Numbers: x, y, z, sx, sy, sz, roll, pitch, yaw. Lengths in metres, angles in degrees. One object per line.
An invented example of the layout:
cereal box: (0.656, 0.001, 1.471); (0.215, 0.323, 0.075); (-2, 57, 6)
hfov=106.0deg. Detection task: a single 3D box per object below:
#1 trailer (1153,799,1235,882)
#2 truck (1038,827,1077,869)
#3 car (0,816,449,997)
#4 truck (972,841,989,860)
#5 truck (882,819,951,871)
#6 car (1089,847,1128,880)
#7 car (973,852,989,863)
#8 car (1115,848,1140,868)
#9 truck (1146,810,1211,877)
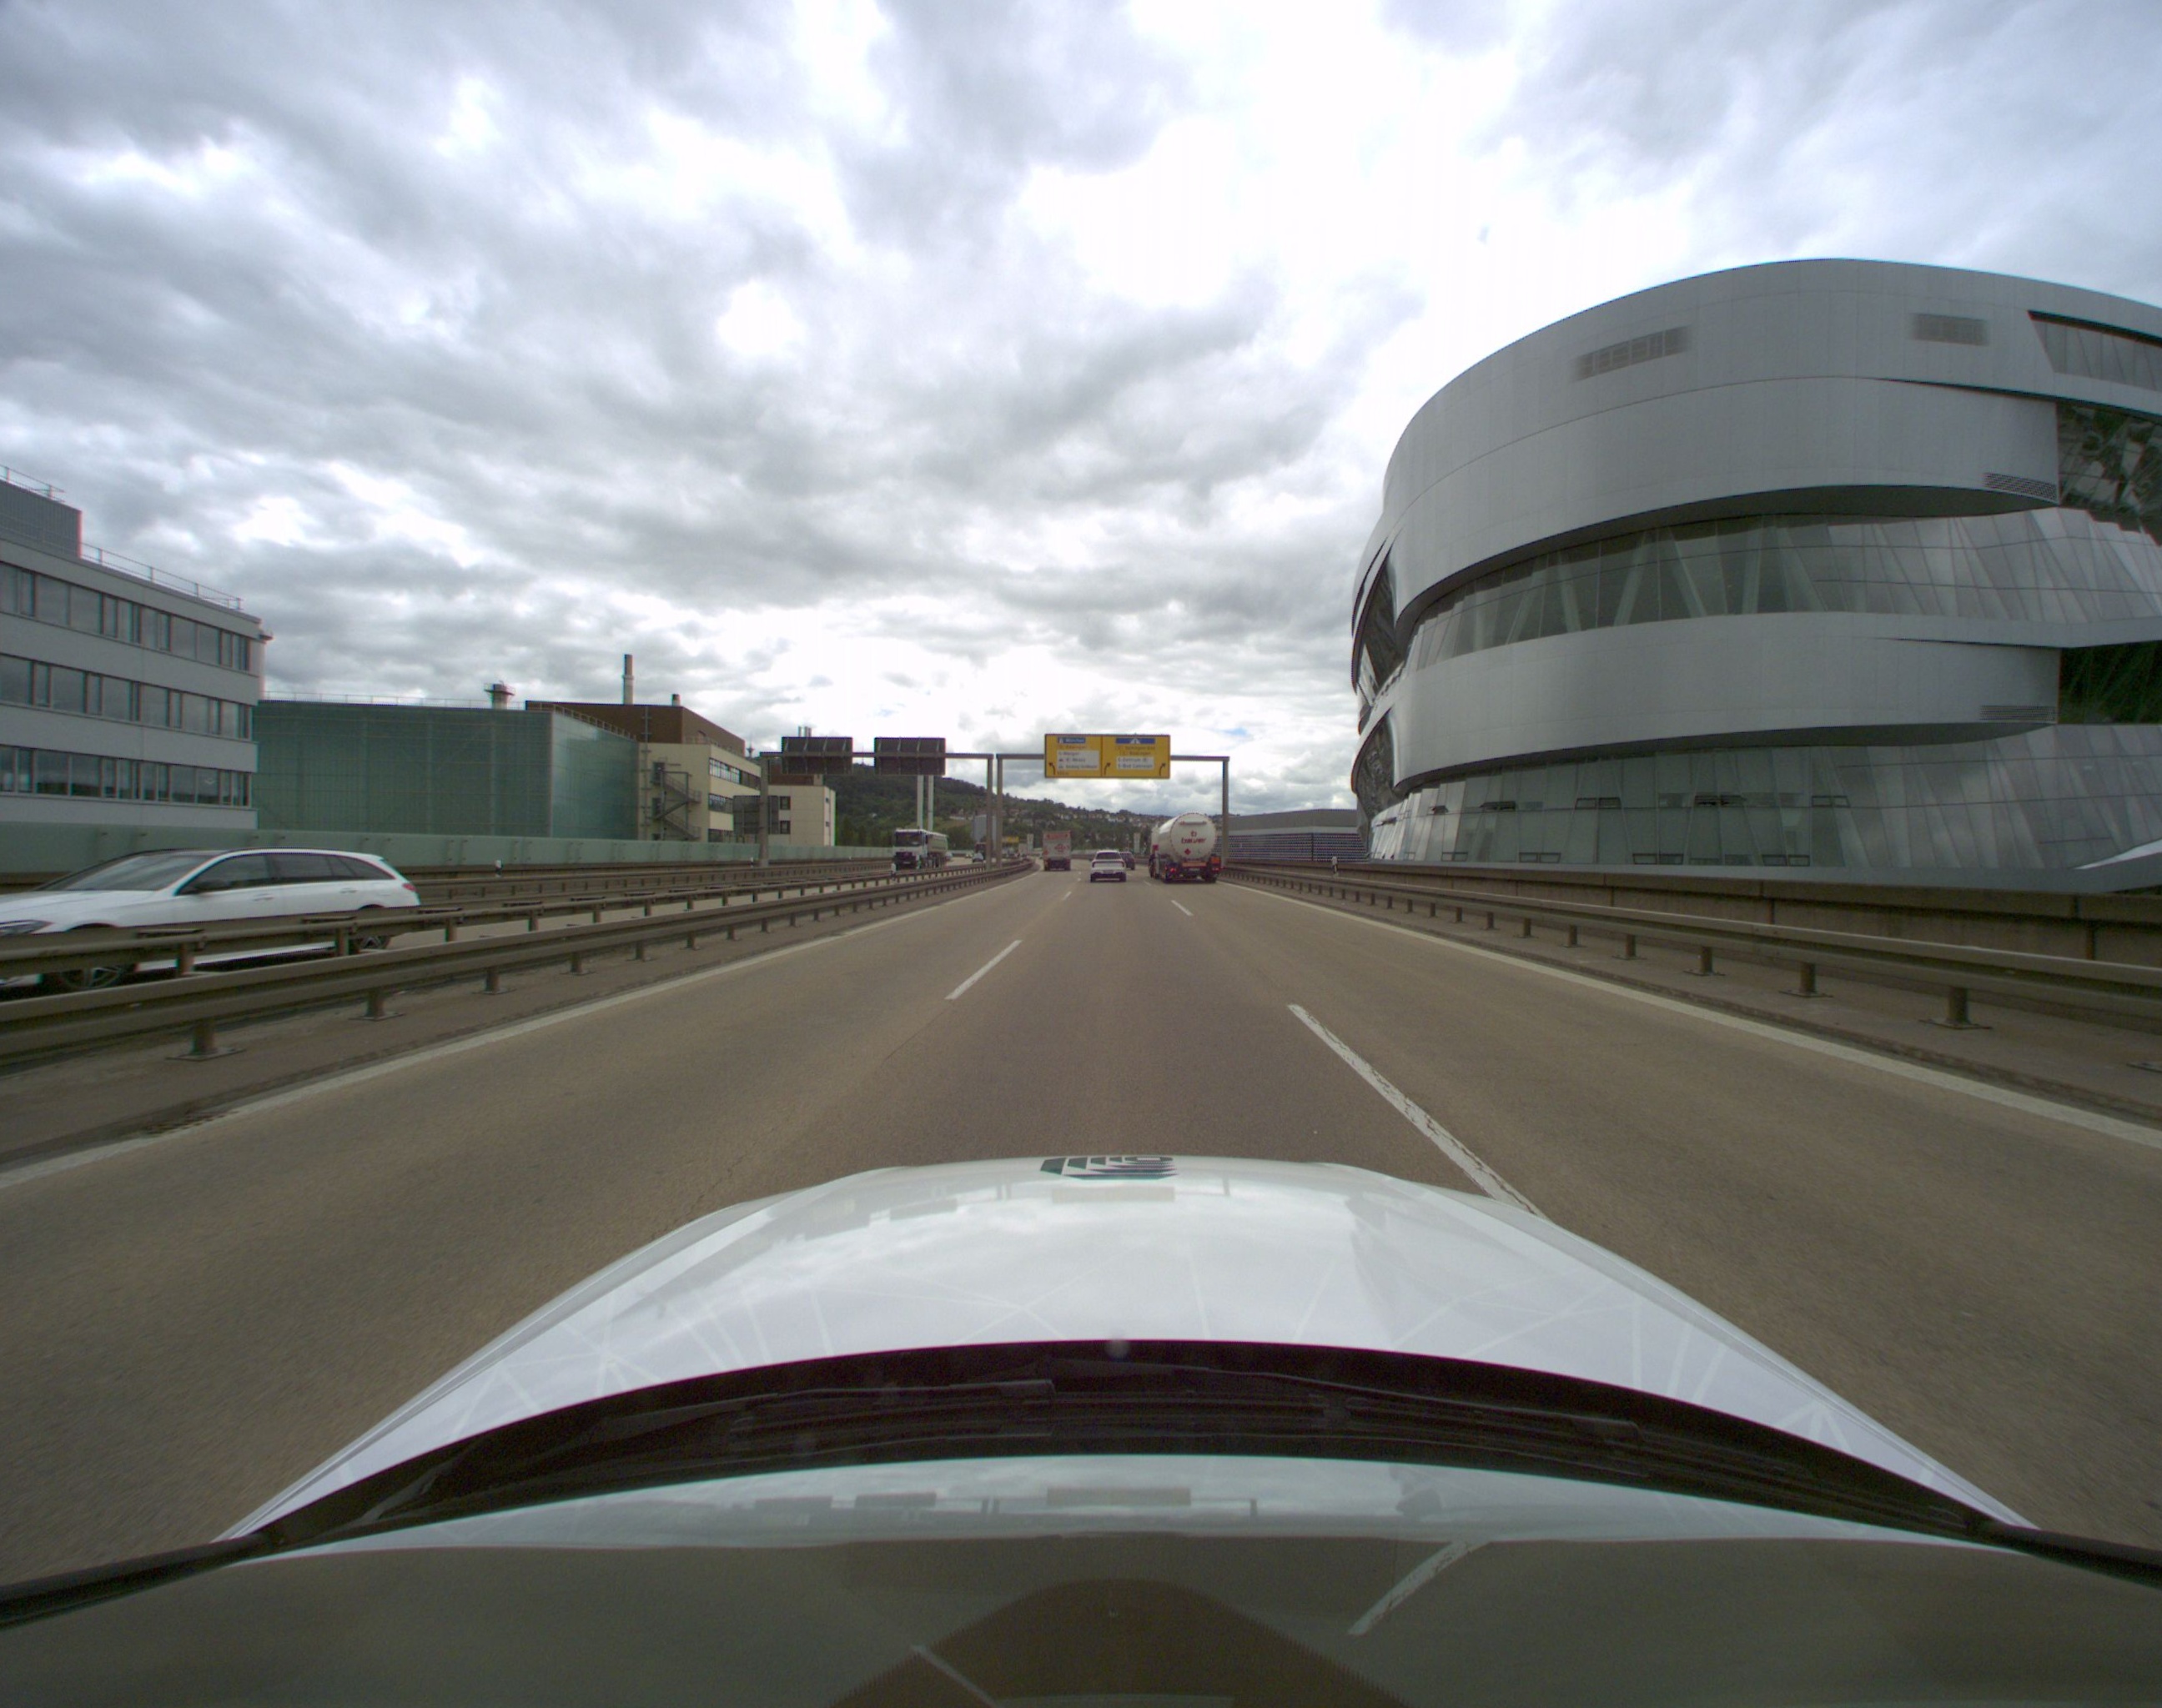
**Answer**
trailer: (5.593, -0.618, 41.756); (3.047, 3.790, 8.303); (-1, 0, 0)
truck: (-2.066, -0.516, 75.738); (3.045, 3.691, 8.308); (-1, 0, 2)
car: (-10.413, 0.499, 9.660); (1.986, 1.606, 4.808); (-1, -1, 1)
truck: (-20.860, -0.686, 169.777); (2.805, 3.809, 12.001); (-1, 0, -4)
truck: (-13.042, -0.601, 65.802); (3.047, 3.776, 12.515); (-1, 0, 0)
car: (1.477, 0.495, 43.853); (1.986, 1.675, 4.410); (-1, -1, 2)
car: (-15.525, 0.558, 126.615); (1.988, 1.675, 4.405); (-1, -1, -1)
car: (4.153, 0.389, 73.265); (1.986, 1.675, 4.409); (-1, -1, 1)
truck: (5.579, -0.542, 47.733); (3.005, 3.657, 6.271); (-1, -1, 0)
